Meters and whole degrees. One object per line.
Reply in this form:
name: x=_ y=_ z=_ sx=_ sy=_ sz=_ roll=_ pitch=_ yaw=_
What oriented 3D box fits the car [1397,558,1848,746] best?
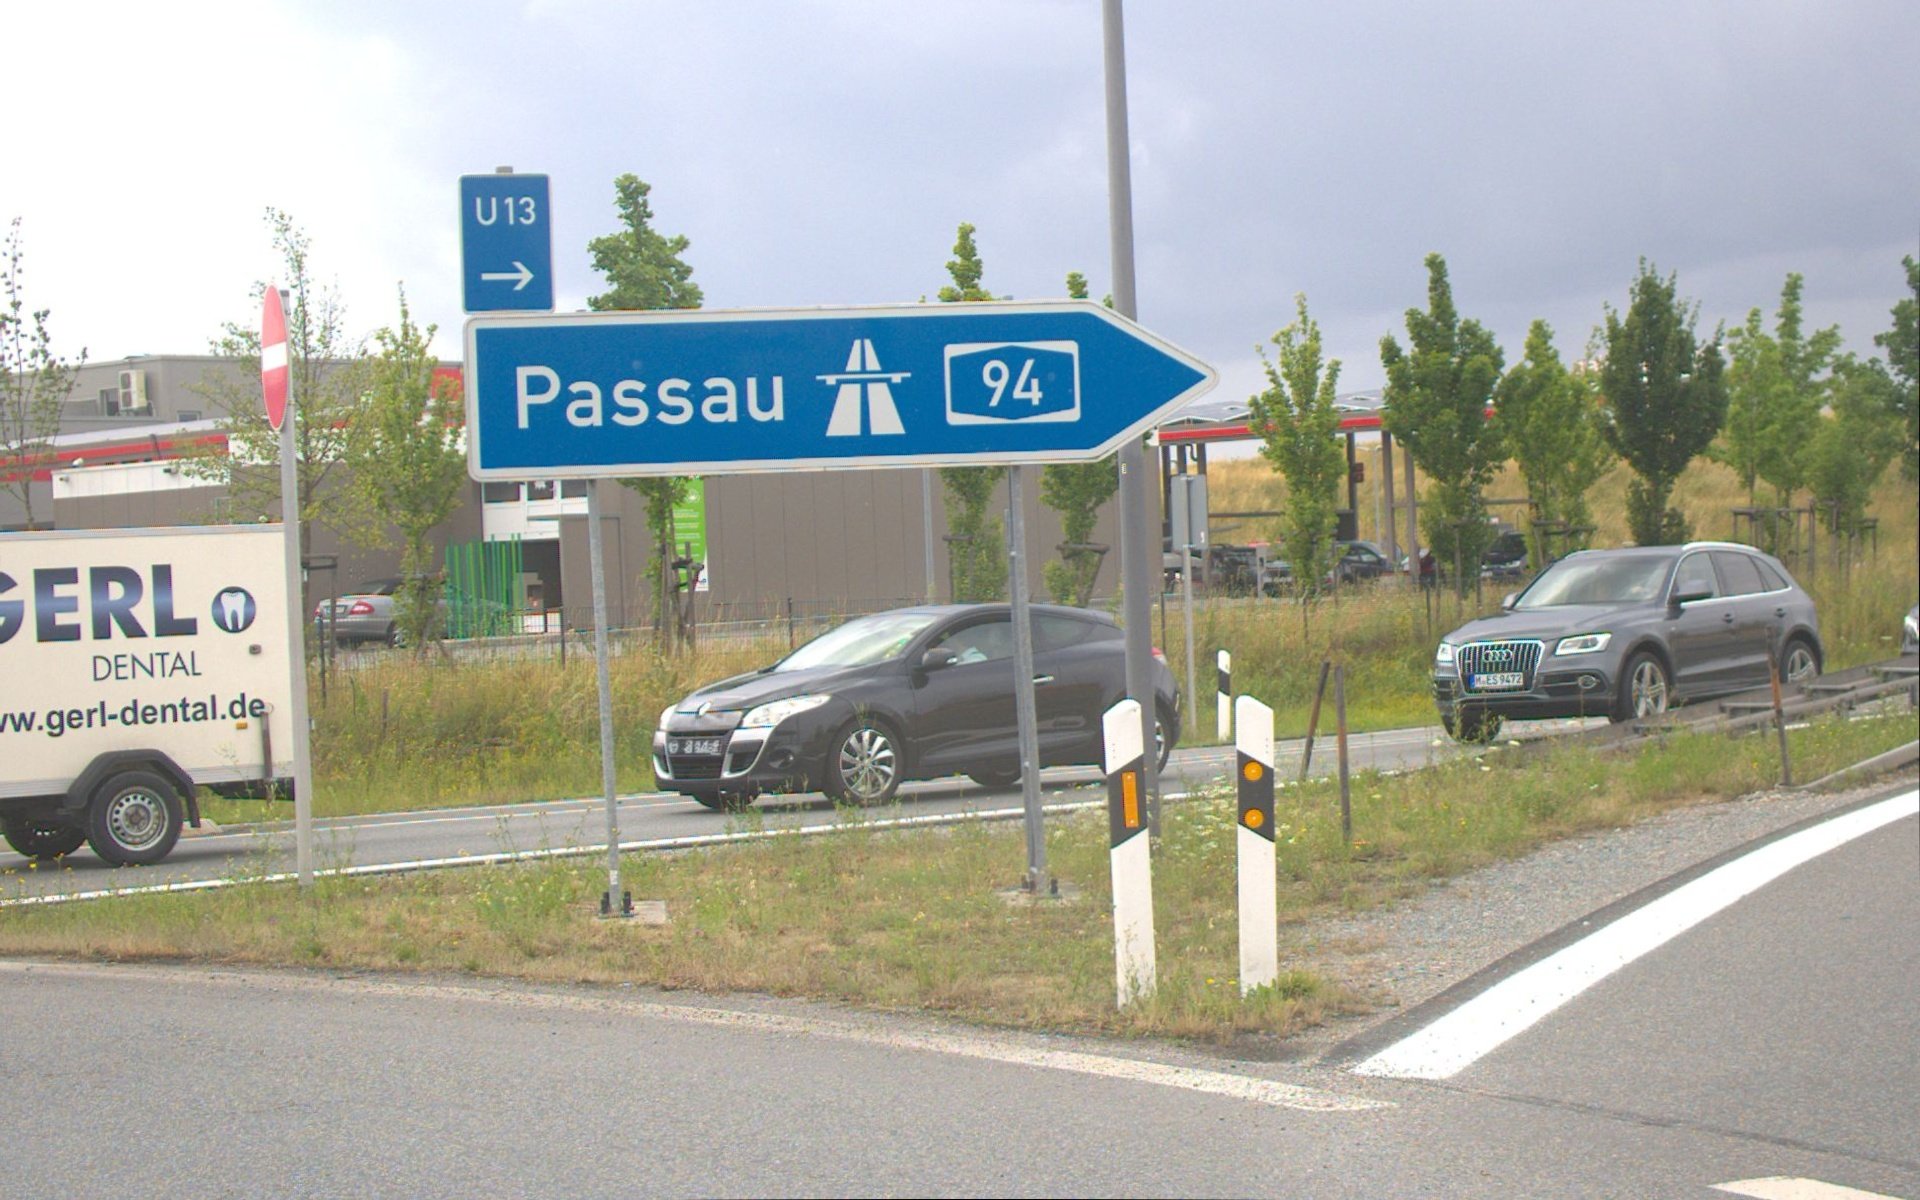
car: x=5.893 y=0.398 z=30.225 sx=1.735 sy=1.486 sz=4.531 roll=1 pitch=1 yaw=43

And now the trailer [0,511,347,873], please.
trailer: x=-6.282 y=0.544 z=21.547 sx=4.358 sy=2.177 sz=2.000 roll=-1 pitch=1 yaw=-31

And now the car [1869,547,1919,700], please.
car: x=12.361 y=0.224 z=39.384 sx=1.998 sy=1.678 sz=4.581 roll=-3 pitch=-1 yaw=39

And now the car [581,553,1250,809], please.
car: x=-0.271 y=0.556 z=25.284 sx=4.578 sy=1.678 sz=1.999 roll=-1 pitch=-1 yaw=-37
